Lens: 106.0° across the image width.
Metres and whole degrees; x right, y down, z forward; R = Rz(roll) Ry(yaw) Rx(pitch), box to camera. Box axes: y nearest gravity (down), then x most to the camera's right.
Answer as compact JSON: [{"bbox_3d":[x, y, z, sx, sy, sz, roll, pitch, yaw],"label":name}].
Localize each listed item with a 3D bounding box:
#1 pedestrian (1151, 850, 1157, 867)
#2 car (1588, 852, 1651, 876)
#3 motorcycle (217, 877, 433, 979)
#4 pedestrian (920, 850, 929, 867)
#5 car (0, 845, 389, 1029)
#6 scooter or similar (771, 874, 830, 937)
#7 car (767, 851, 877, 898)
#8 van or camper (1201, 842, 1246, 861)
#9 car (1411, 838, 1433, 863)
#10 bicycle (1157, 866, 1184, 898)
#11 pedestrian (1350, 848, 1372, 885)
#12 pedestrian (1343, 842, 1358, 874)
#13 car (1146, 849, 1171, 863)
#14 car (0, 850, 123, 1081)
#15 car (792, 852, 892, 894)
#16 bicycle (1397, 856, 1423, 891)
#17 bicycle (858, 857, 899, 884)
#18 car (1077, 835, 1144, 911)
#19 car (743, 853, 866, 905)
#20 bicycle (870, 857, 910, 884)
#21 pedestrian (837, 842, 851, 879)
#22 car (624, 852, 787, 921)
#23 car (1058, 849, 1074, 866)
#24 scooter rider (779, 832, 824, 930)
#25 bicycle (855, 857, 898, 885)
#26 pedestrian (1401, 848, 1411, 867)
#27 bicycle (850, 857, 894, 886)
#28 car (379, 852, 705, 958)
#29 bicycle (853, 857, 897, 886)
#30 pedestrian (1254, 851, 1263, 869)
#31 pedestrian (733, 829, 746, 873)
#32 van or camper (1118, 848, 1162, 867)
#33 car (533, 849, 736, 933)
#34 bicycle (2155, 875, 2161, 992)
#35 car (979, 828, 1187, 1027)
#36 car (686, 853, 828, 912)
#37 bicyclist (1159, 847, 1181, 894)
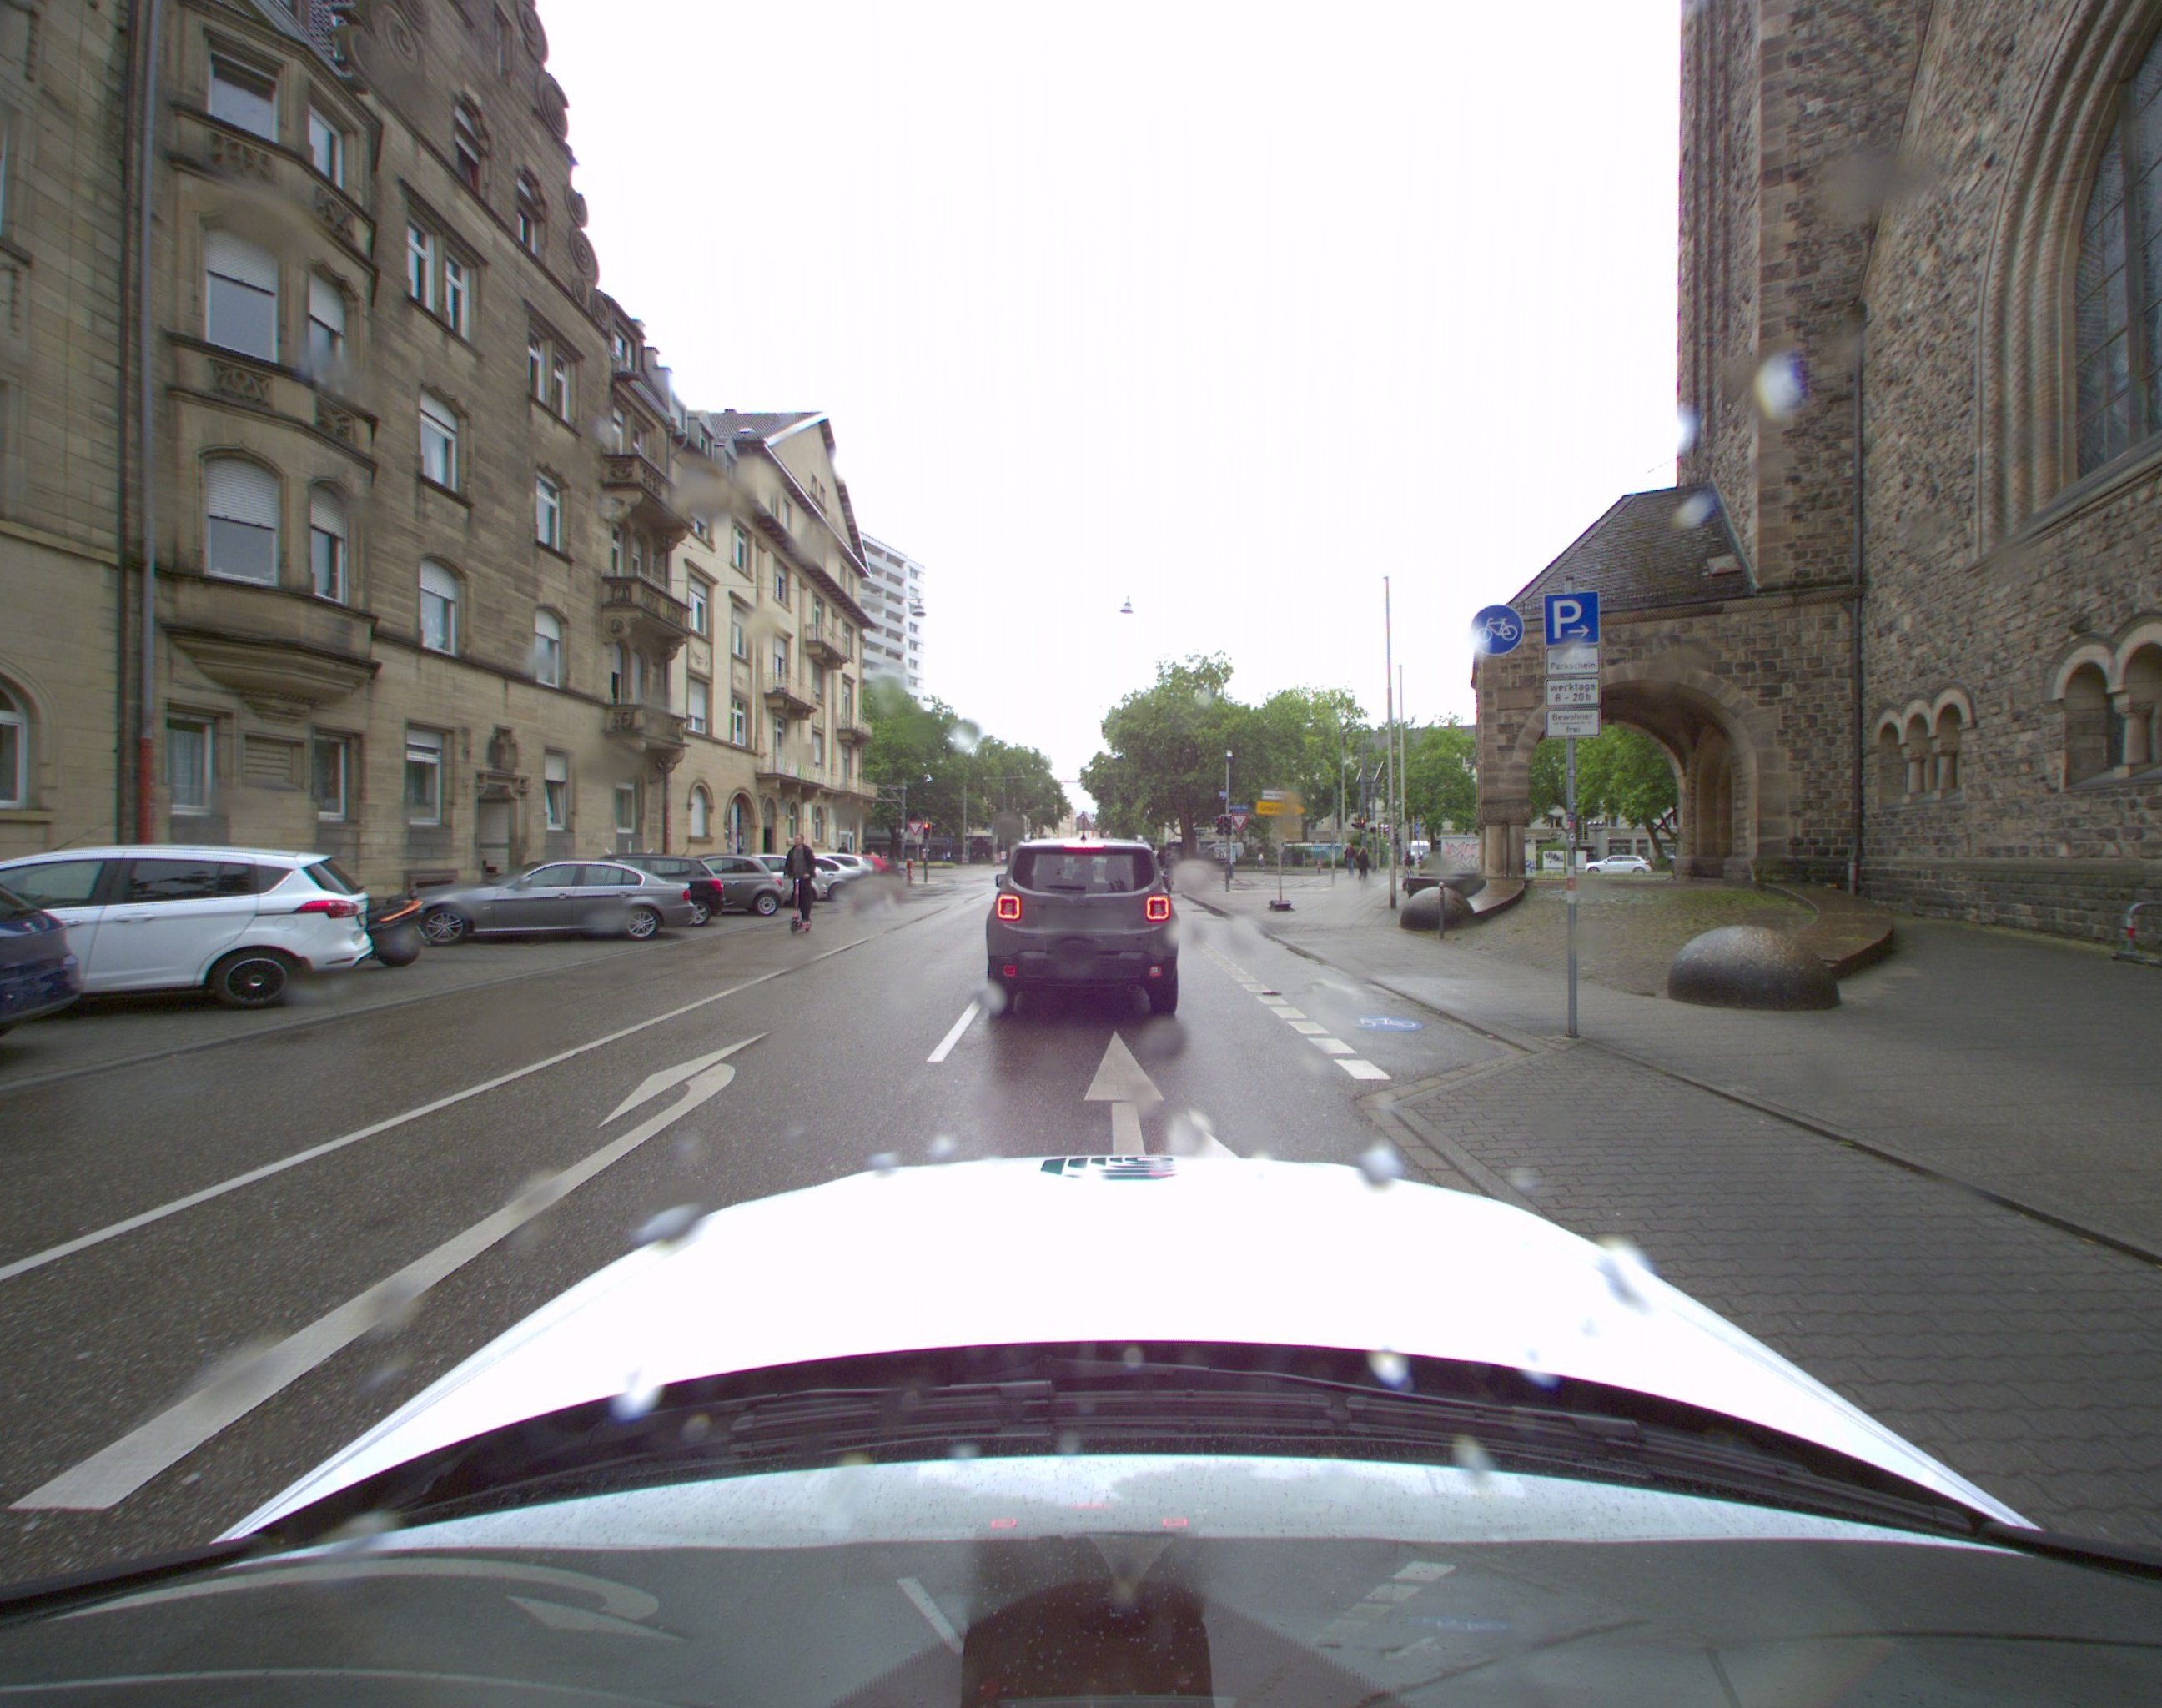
[{"bbox_3d":[8.719,0.541,97.045,0.646,2.013,0.484,0,0,14],"label":"pedestrian"},{"bbox_3d":[36.595,0.692,55.388,3.404,1.552,1.603,-1,0,27],"label":"car"},{"bbox_3d":[-9.422,0.897,10.266,1.880,1.162,0.627,2,-2,-35],"label":"motorcycle"},{"bbox_3d":[-16.725,0.476,87.133,0.686,1.826,0.623,-1,0,17],"label":"pedestrian"},{"bbox_3d":[-9.443,0.715,7.922,4.064,1.555,1.778,-1,0,-39],"label":"car"},{"bbox_3d":[-5.646,1.013,16.483,0.698,1.165,1.385,-1,0,0],"label":"scooter or similar"},{"bbox_3d":[-9.278,0.690,29.228,3.419,1.558,1.687,0,0,-37],"label":"car"},{"bbox_3d":[17.142,-0.302,98.122,5.233,2.315,2.093,0,0,5],"label":"van or camper"},{"bbox_3d":[36.230,-0.346,86.531,1.889,2.555,4.815,0,0,26],"label":"car"},{"bbox_3d":[3.163,0.985,29.004,0.689,1.021,2.658,-1,0,1],"label":"bicycle"},{"bbox_3d":[12.546,0.548,36.481,0.775,1.645,0.659,-1,0,37],"label":"pedestrian"},{"bbox_3d":[15.342,0.227,46.390,0.779,1.759,0.949,-1,0,17],"label":"pedestrian"},{"bbox_3d":[11.713,0.253,122.969,3.410,2.014,1.554,-1,-1,15],"label":"car"},{"bbox_3d":[-9.391,0.786,5.056,4.053,1.573,1.782,-1,0,-28],"label":"car"},{"bbox_3d":[-9.396,0.707,32.131,3.419,1.558,1.687,0,0,-37],"label":"car"},{"bbox_3d":[11.352,0.659,28.148,0.327,1.154,2.079,-1,0,7],"label":"bicycle"},{"bbox_3d":[-9.511,0.763,38.254,1.758,1.266,0.608,-1,0,0],"label":"bicycle"},{"bbox_3d":[0.843,0.496,23.540,1.763,2.013,4.002,0,0,2],"label":"car"},{"bbox_3d":[-8.944,0.767,26.442,3.419,1.558,1.687,0,0,-37],"label":"car"},{"bbox_3d":[-9.181,0.803,39.124,1.758,1.266,0.608,-1,0,0],"label":"bicycle"},{"bbox_3d":[-12.873,0.359,44.252,0.565,2.013,0.655,0,0,2],"label":"pedestrian"},{"bbox_3d":[-9.272,0.745,20.208,3.419,1.558,1.634,0,0,-37],"label":"car"},{"bbox_3d":[-1.647,0.353,88.967,1.717,1.739,3.727,0,0,-2],"label":"car"},{"bbox_3d":[-5.658,0.540,16.494,0.708,1.935,0.503,-1,0,-1],"label":"scooter rider"},{"bbox_3d":[-9.334,0.781,37.219,1.804,1.266,0.498,-1,0,0],"label":"bicycle"},{"bbox_3d":[27.180,0.327,68.066,0.667,1.554,0.766,0,-2,30],"label":"pedestrian"},{"bbox_3d":[-9.229,0.783,35.984,1.758,1.266,0.522,-1,0,0],"label":"bicycle"},{"bbox_3d":[-9.255,0.758,14.253,4.572,1.545,1.668,0,0,-41],"label":"car"},{"bbox_3d":[-9.228,0.773,36.532,1.804,1.266,0.498,-1,0,0],"label":"bicycle"},{"bbox_3d":[15.672,0.532,71.862,0.607,1.603,0.497,-1,0,26],"label":"pedestrian"},{"bbox_3d":[-14.037,-0.116,33.477,0.365,1.822,0.347,-1,-1,-1],"label":"pedestrian"},{"bbox_3d":[9.282,0.592,128.111,6.465,2.912,2.509,0,0,28],"label":"van or camper"},{"bbox_3d":[-9.394,0.704,17.234,3.570,1.598,1.587,0,0,-37],"label":"car"},{"bbox_3d":[9.891,0.692,6.256,1.970,1.105,0.694,-2,-1,13],"label":"bicycle"},{"bbox_3d":[0.056,0.627,8.966,1.769,1.687,3.849,-1,0,1],"label":"car"},{"bbox_3d":[-9.184,0.753,23.172,3.419,1.558,1.687,0,0,-37],"label":"car"},{"bbox_3d":[3.151,0.580,28.983,0.684,1.617,0.884,-1,0,1],"label":"bicyclist"}]
